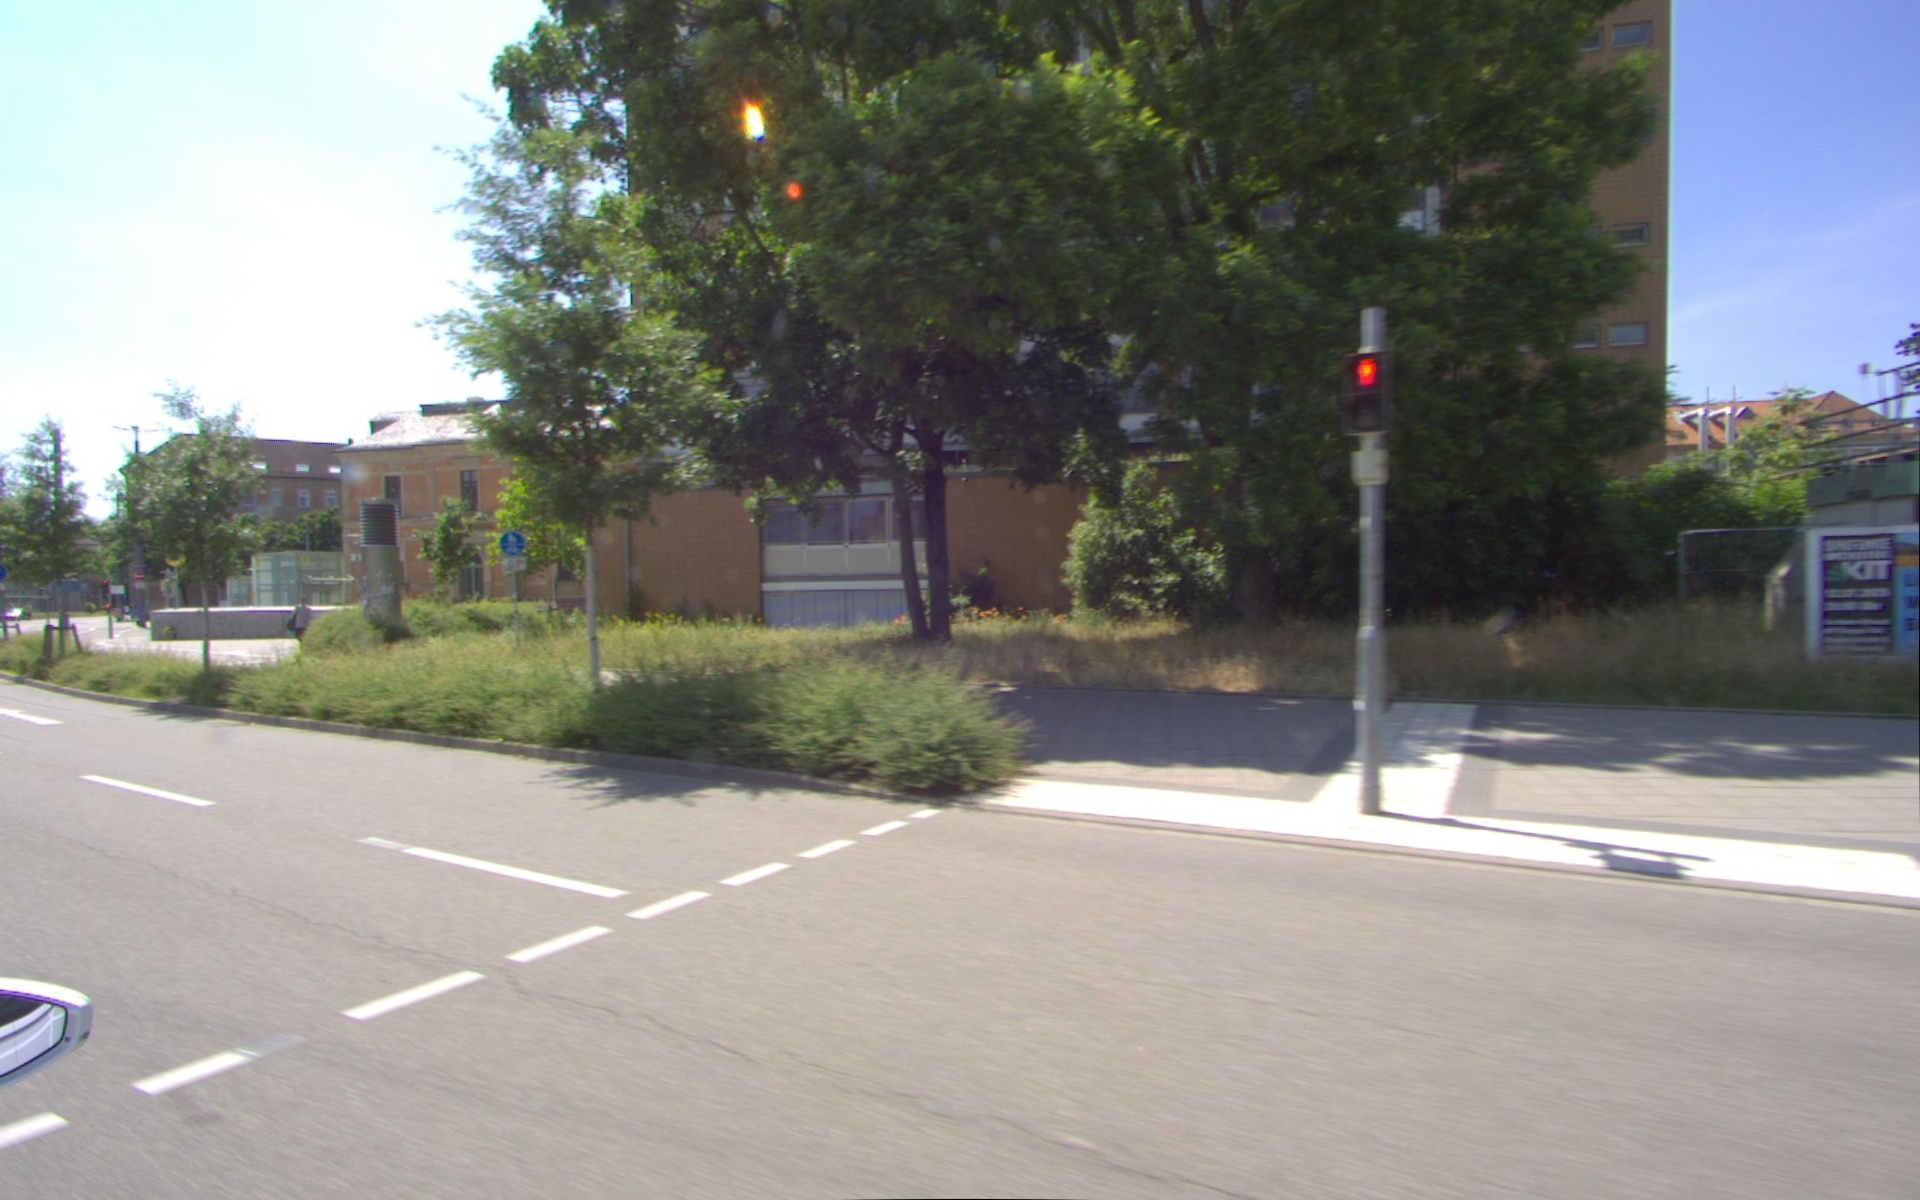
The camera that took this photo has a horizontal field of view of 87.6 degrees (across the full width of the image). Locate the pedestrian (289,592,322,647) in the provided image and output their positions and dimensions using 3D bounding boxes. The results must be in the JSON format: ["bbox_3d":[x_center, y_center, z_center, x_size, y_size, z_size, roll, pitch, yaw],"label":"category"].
[{"bbox_3d":[-21.024,0.610,32.156,0.802,1.728,0.728,1,1,44],"label":"pedestrian"}]

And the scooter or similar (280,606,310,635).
[{"bbox_3d":[-28.168,0.866,42.399,1.267,1.183,0.397,2,2,20],"label":"scooter or similar"}]
